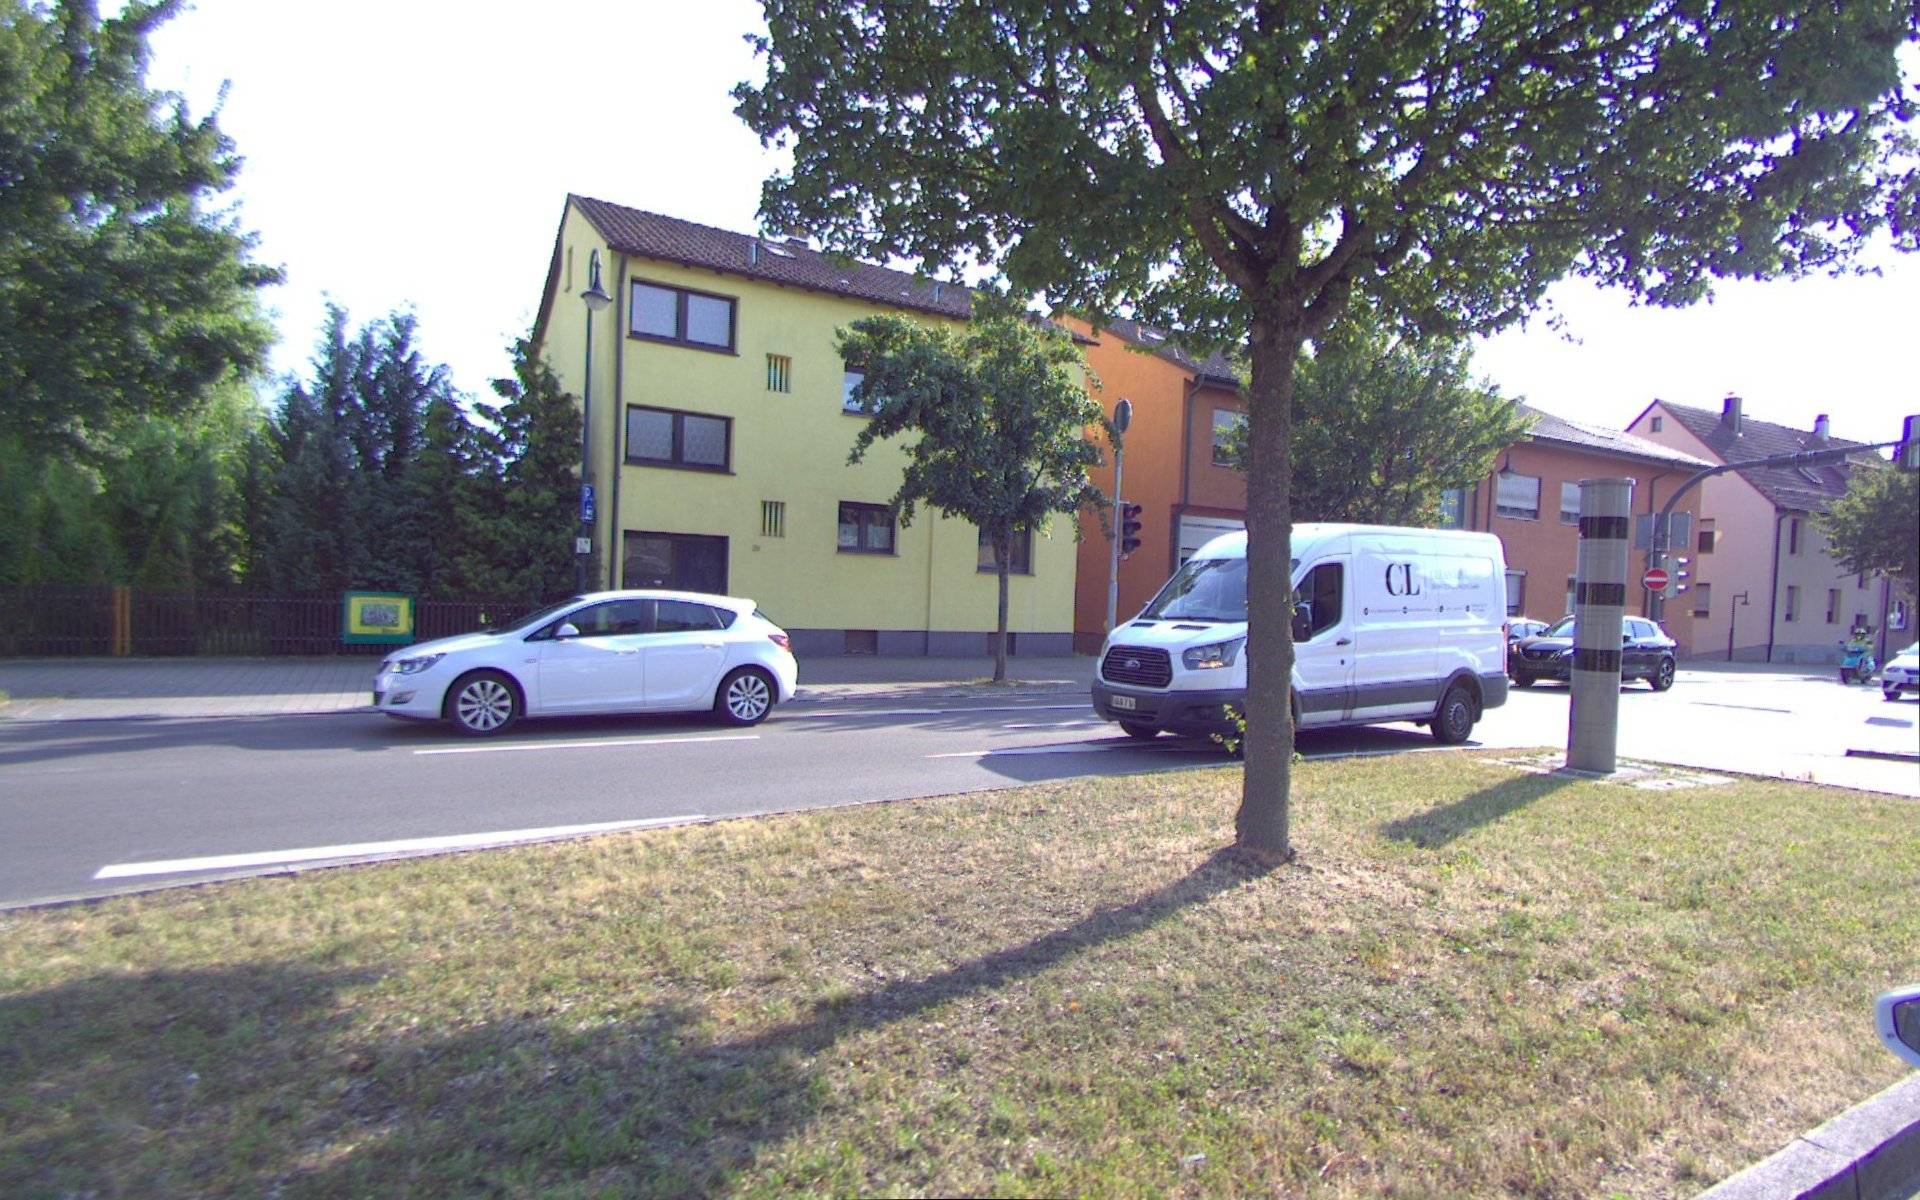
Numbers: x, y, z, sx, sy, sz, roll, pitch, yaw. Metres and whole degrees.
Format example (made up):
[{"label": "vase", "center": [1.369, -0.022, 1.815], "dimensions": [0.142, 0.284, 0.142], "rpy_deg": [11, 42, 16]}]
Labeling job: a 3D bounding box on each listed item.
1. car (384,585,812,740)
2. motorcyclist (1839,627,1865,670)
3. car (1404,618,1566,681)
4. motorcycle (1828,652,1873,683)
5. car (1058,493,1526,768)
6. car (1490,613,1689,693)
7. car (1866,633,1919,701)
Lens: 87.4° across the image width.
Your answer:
[{"label": "car", "center": [-3.899, 0.621, 11.064], "dimensions": [4.162, 1.433, 1.684], "rpy_deg": [2, 0, -29]}, {"label": "motorcyclist", "center": [26.265, 1.429, 29.575], "dimensions": [0.456, 1.245, 0.401], "rpy_deg": [1, 1, -29]}, {"label": "car", "center": [13.297, 1.228, 25.408], "dimensions": [3.893, 1.433, 1.788], "rpy_deg": [2, 0, -29]}, {"label": "motorcycle", "center": [26.205, 1.979, 29.552], "dimensions": [1.742, 0.872, 0.410], "rpy_deg": [1, 0, -30]}, {"label": "car", "center": [3.922, 0.322, 11.488], "dimensions": [5.418, 2.509, 2.073], "rpy_deg": [1, 0, -32]}, {"label": "car", "center": [14.219, 1.158, 22.662], "dimensions": [4.404, 1.617, 1.847], "rpy_deg": [2, 0, -28]}, {"label": "car", "center": [22.324, 1.502, 22.615], "dimensions": [3.954, 1.430, 1.748], "rpy_deg": [2, 0, -31]}]
